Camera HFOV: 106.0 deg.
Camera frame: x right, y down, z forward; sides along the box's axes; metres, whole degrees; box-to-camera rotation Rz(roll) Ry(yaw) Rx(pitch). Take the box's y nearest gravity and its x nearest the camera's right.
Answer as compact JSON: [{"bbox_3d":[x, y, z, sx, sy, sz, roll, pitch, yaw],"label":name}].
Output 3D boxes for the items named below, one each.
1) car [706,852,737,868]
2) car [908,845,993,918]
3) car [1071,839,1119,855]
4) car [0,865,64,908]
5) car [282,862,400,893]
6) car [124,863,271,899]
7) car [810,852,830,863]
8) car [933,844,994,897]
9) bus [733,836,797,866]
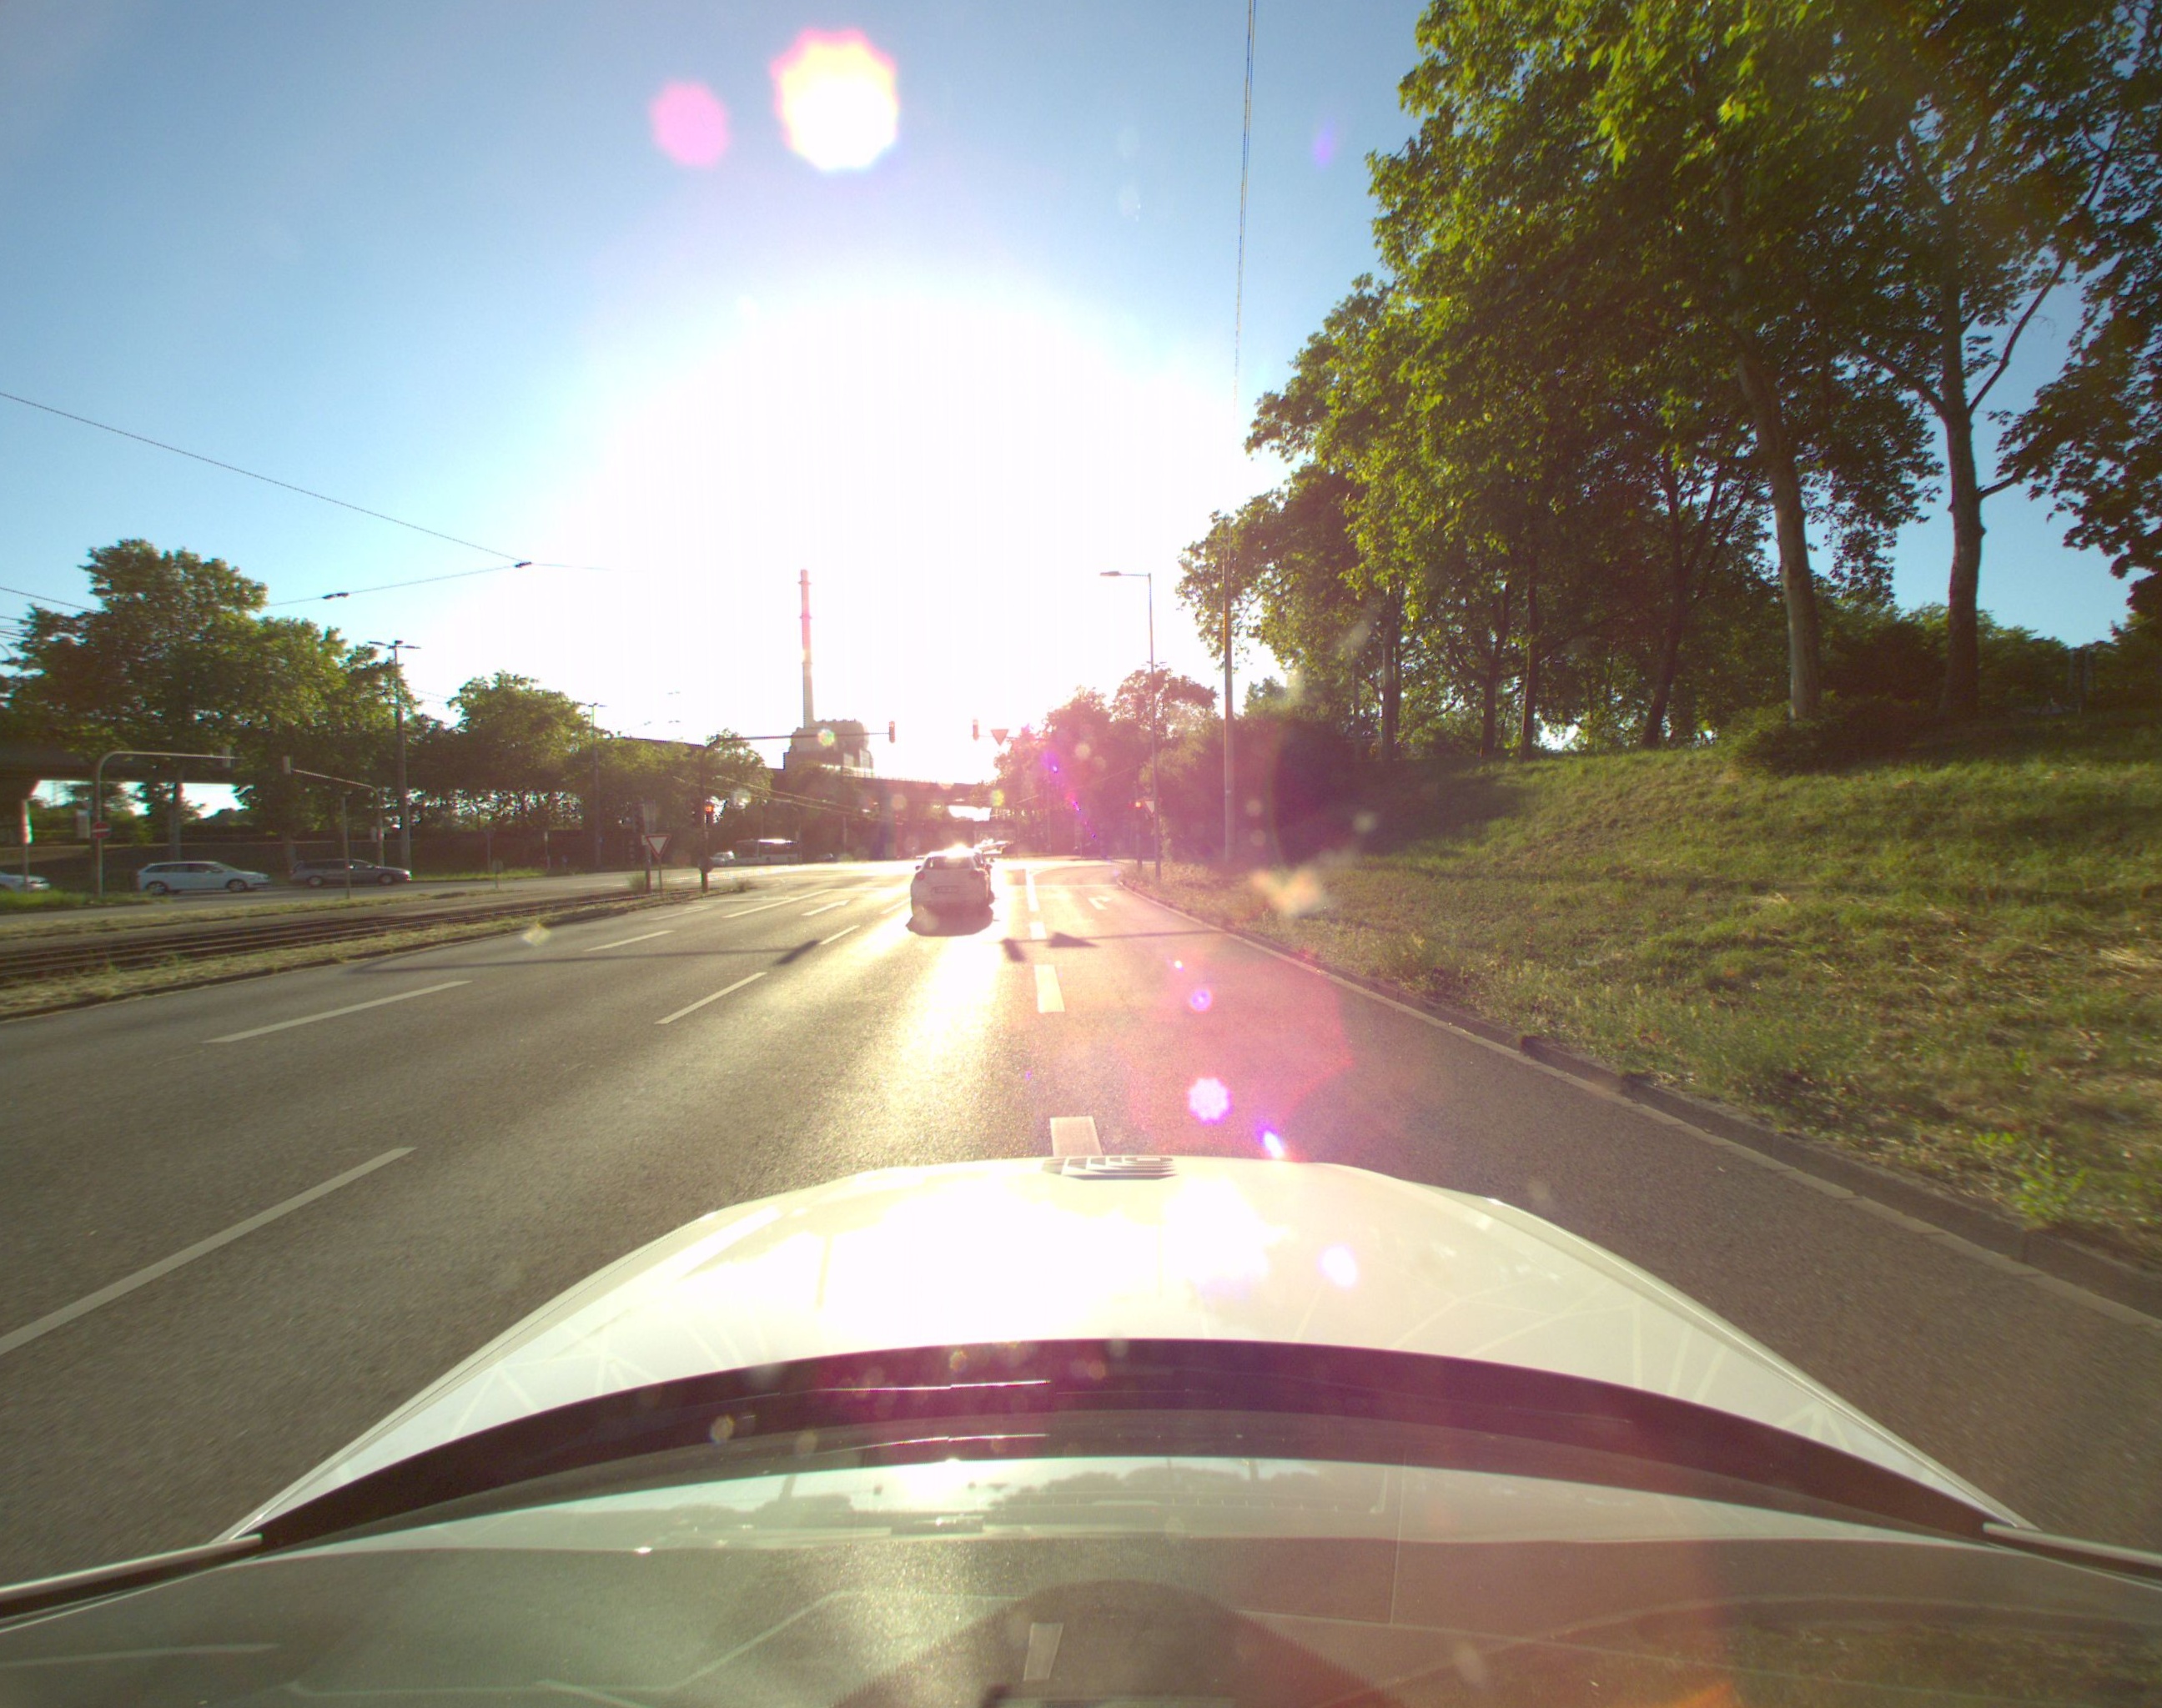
[{"bbox_3d":[-35.748,0.579,81.013,1.604,1.512,4.000,-1,1,-6],"label":"car"},{"bbox_3d":[-3.087,0.587,19.981,1.734,1.505,3.993,-2,1,-5],"label":"car"},{"bbox_3d":[1.400,-0.755,83.202,4.593,1.574,1.682,-1,1,-21],"label":"car"},{"bbox_3d":[-43.374,1.307,31.087,5.380,1.574,1.725,-2,1,-28],"label":"car"},{"bbox_3d":[-38.748,1.211,42.817,4.467,1.404,1.651,-2,1,-39],"label":"car"},{"bbox_3d":[-40.169,1.196,37.183,4.211,1.404,1.654,-2,1,-32],"label":"car"},{"bbox_3d":[-36.753,0.540,114.588,1.602,1.419,4.005,-1,1,-2],"label":"car"},{"bbox_3d":[-3.727,0.465,26.234,1.712,1.465,4.197,-2,1,-7],"label":"car"},{"bbox_3d":[-36.212,-0.276,93.995,2.536,3.130,12.910,-2,0,-1],"label":"bus"}]
